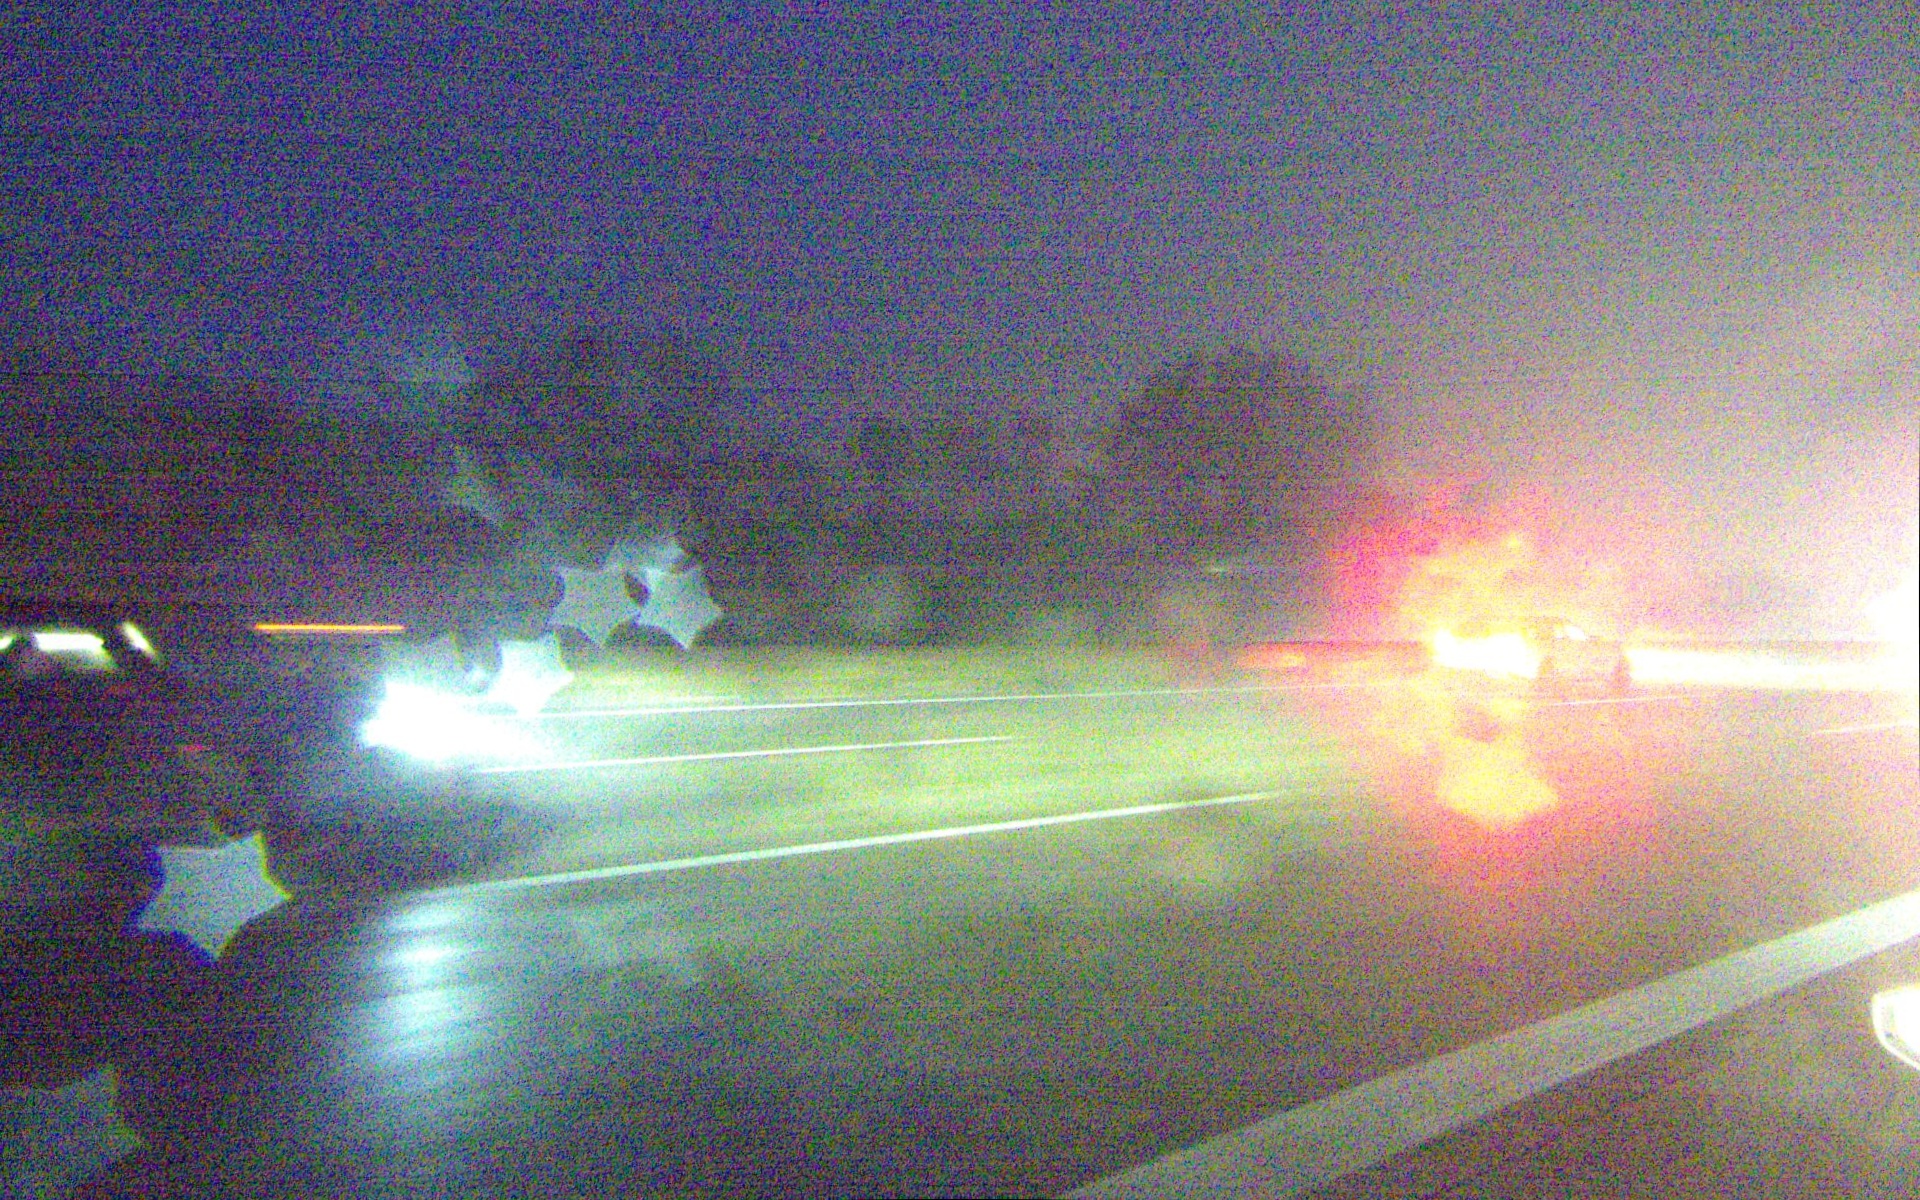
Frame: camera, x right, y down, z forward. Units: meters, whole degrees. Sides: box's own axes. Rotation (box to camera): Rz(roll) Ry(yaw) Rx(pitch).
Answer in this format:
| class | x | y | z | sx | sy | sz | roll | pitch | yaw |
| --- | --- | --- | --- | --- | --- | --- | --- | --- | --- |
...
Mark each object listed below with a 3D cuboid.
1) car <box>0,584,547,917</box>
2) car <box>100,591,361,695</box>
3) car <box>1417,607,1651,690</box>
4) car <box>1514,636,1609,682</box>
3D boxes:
| class | x | y | z | sx | sy | sz | roll | pitch | yaw |
| --- | --- | --- | --- | --- | --- | --- | --- | --- | --- |
| car | -4.516 | 0.673 | 5.469 | 3.954 | 1.460 | 1.984 | 2 | 0 | -31 |
| car | -14.134 | 0.805 | 19.751 | 3.958 | 1.832 | 1.892 | 2 | 0 | -34 |
| car | 11.895 | 0.962 | 20.721 | 5.107 | 1.496 | 1.983 | 2 | 0 | -32 |
| car | 26.609 | 2.587 | 44.425 | 3.953 | 1.832 | 1.894 | 2 | 0 | -30 |
